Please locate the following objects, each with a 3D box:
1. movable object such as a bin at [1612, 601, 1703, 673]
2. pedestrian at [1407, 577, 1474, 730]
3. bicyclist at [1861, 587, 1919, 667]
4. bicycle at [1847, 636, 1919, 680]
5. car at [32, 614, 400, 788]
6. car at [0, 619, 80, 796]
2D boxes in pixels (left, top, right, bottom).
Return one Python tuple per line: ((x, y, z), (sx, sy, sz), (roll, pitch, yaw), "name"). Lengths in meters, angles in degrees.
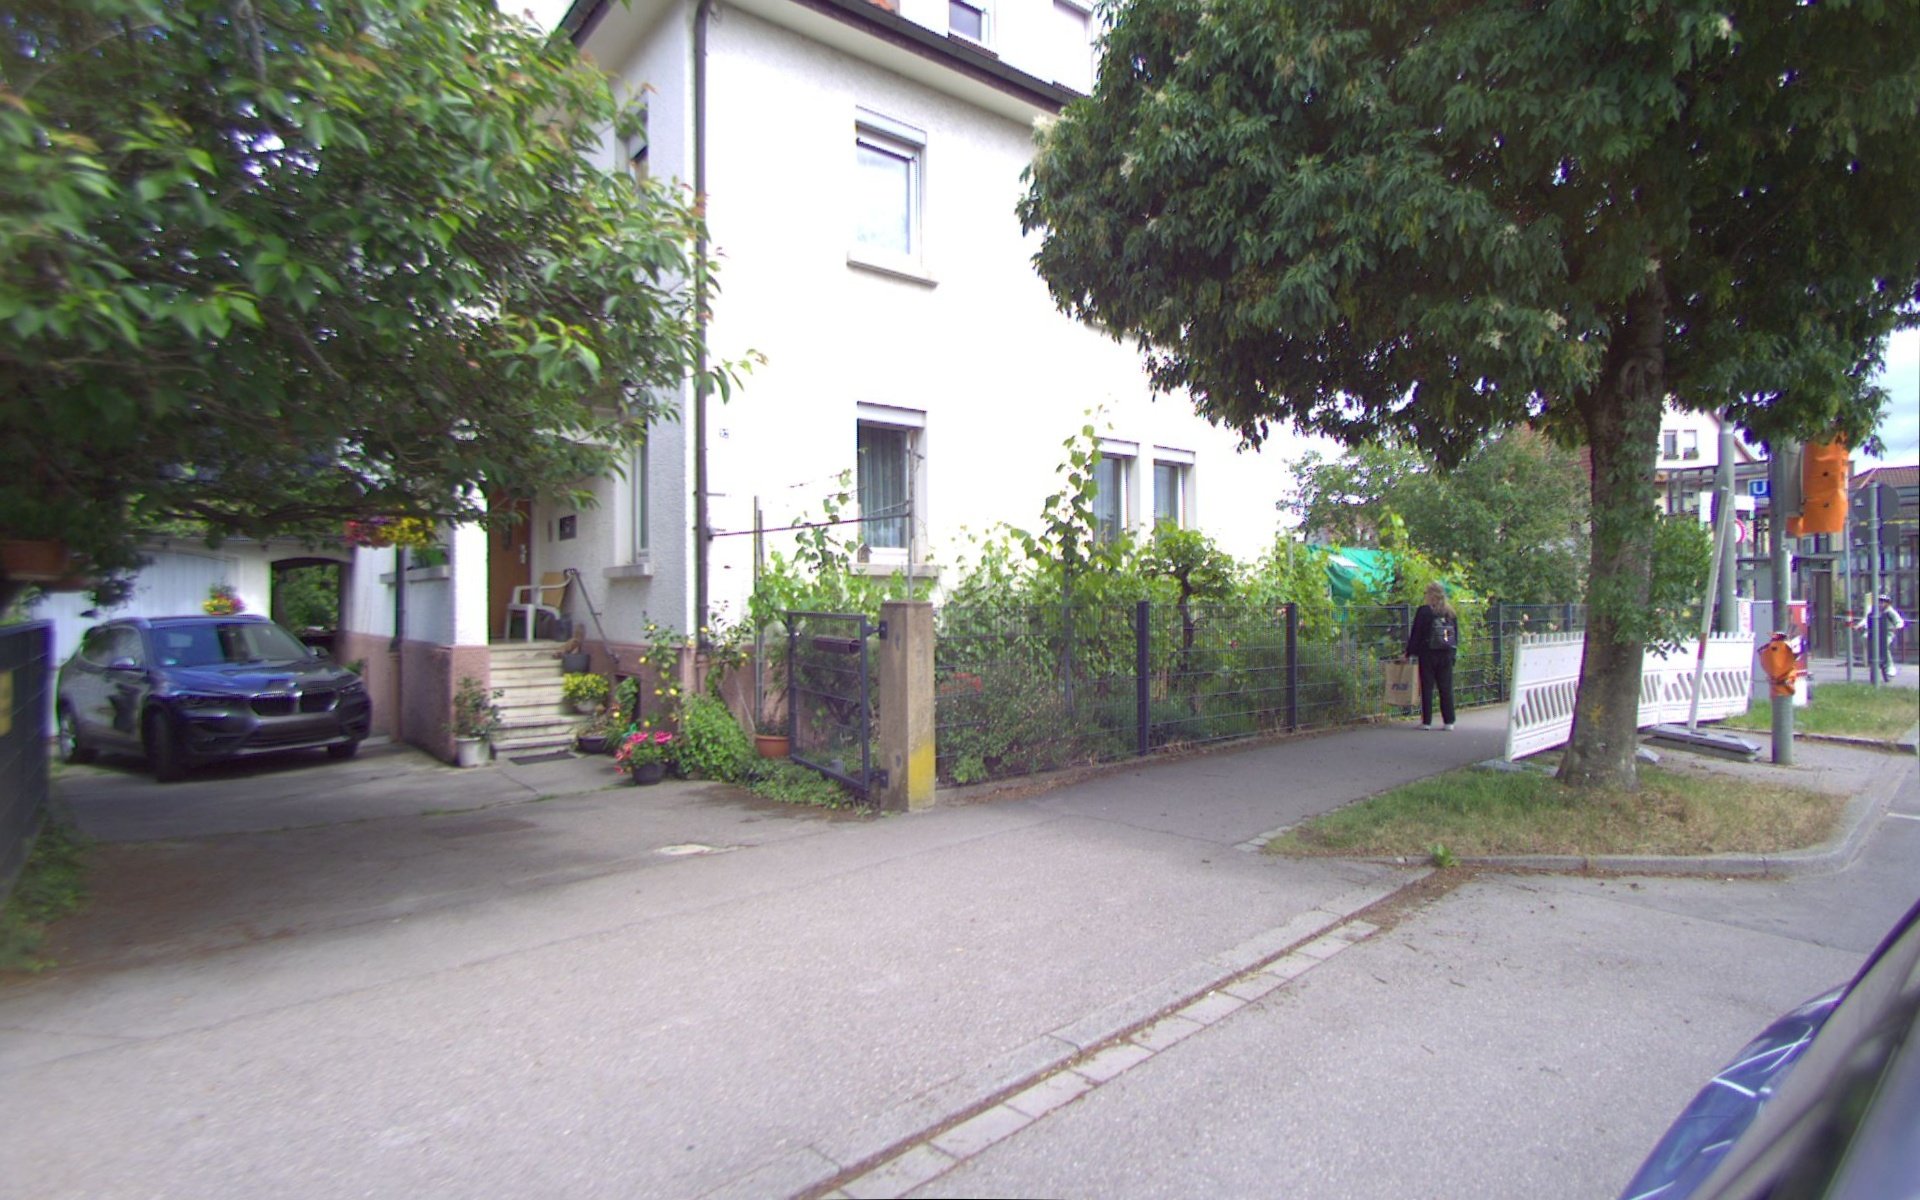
((15.020, 0.774, 21.807), (0.983, 1.489, 1.274), (1, -1, -22), "movable object such as a bin")
((5.102, 0.542, 10.747), (0.519, 1.559, 0.628), (1, 0, 36), "pedestrian")
((17.421, 0.503, 18.810), (1.155, 1.434, 0.659), (2, -1, -29), "bicyclist")
((17.357, 1.065, 18.827), (2.020, 0.763, 0.638), (1, -1, -29), "bicycle")
((-8.064, 0.952, 10.900), (3.967, 1.527, 1.861), (-1, -1, 32), "car")
((-10.273, 0.985, 9.457), (3.966, 1.527, 1.978), (-1, -1, 31), "car")
